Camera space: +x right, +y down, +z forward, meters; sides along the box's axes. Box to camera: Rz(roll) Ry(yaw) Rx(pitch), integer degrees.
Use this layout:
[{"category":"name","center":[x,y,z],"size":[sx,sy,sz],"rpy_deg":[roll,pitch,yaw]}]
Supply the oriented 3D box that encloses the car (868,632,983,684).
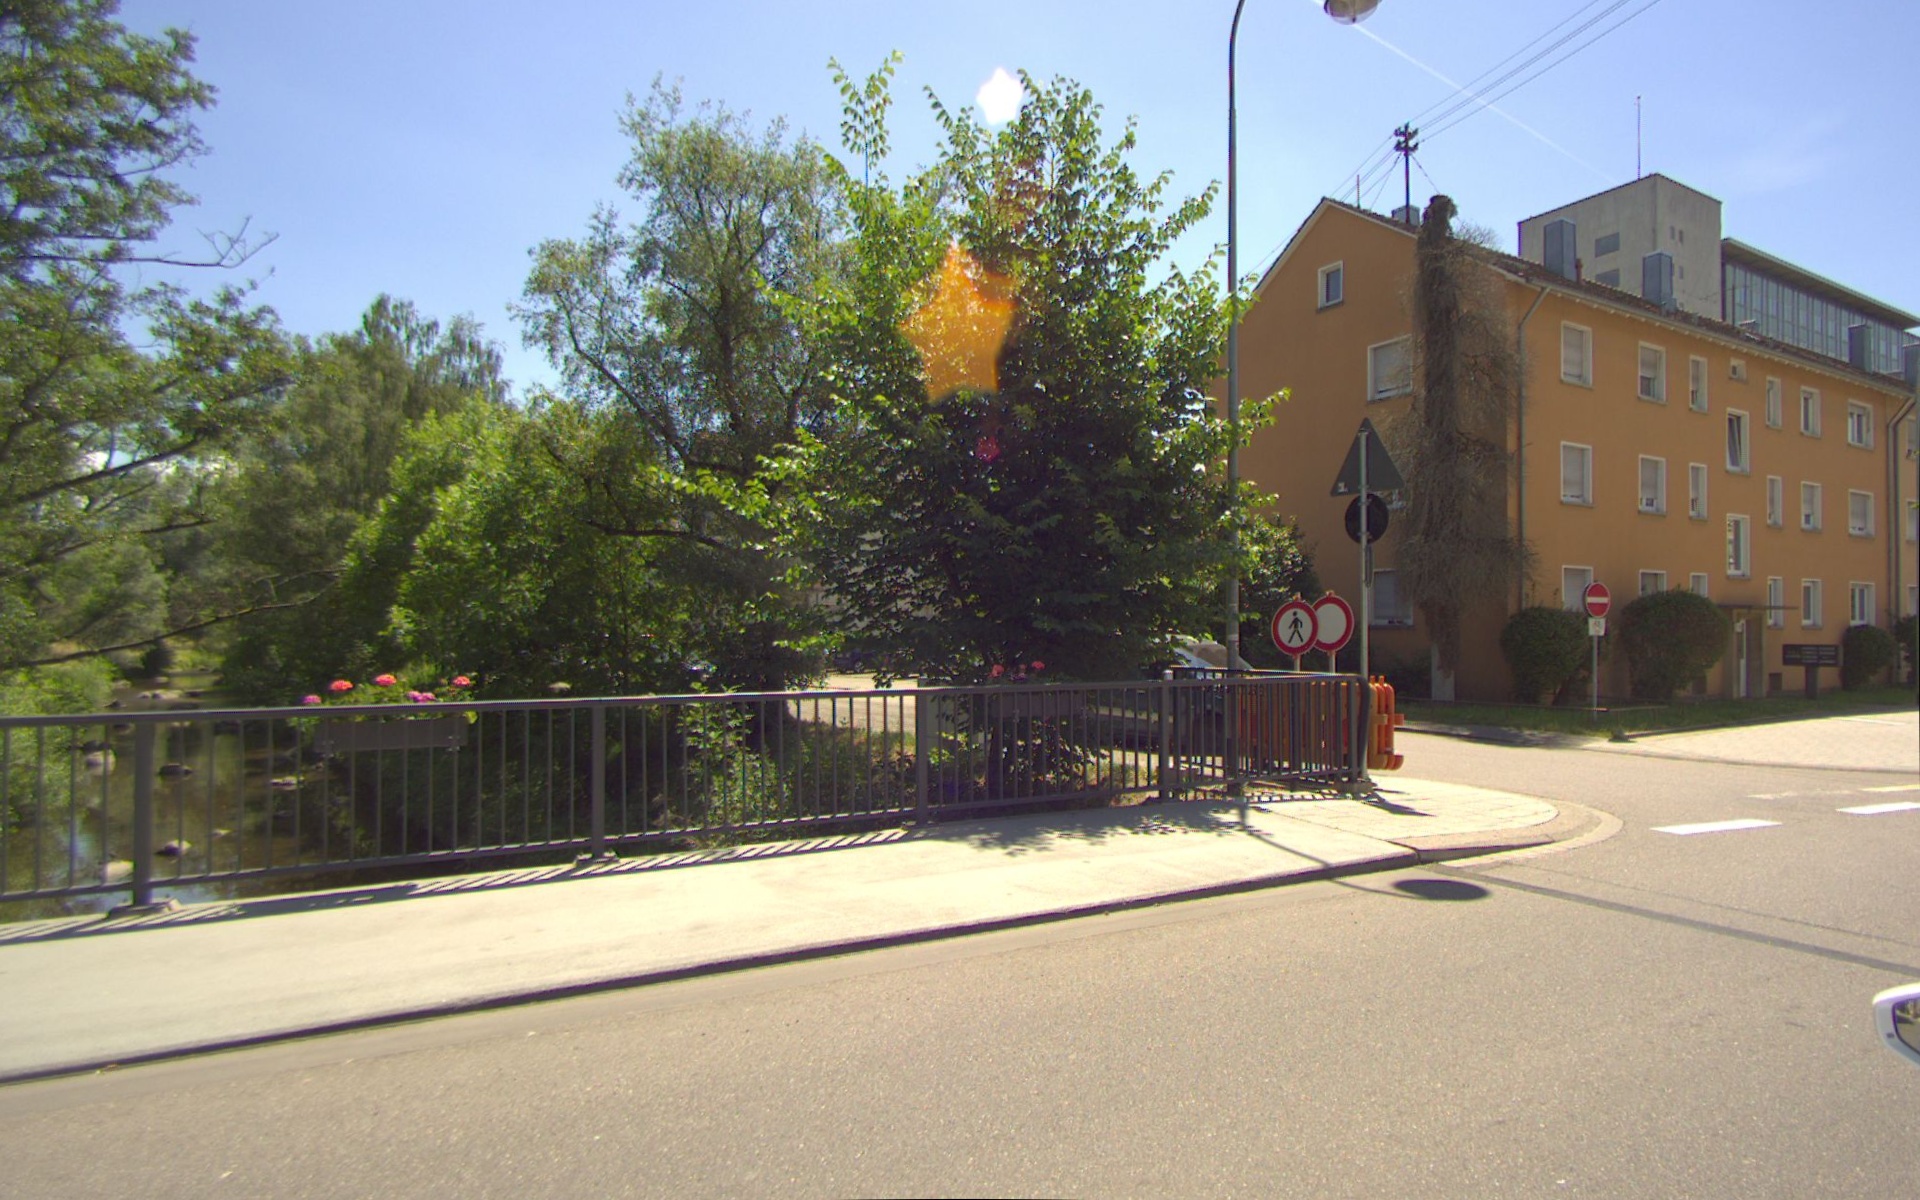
[{"category":"car","center":[-1.310,2.174,38.427],"size":[3.958,1.840,1.981],"rpy_deg":[1,-1,-34]}]

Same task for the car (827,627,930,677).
[{"category":"car","center":[-3.489,2.212,43.003],"size":[3.954,2.040,1.984],"rpy_deg":[2,-1,-31]}]

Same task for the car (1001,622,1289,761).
[{"category":"car","center":[2.811,1.406,16.162],"size":[1.804,1.898,4.389],"rpy_deg":[0,-3,-39]}]

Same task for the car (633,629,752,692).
[{"category":"car","center":[-8.471,1.864,31.570],"size":[1.983,1.825,4.388],"rpy_deg":[2,-3,-39]}]

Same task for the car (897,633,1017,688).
[{"category":"car","center":[-0.093,2.137,36.425],"size":[3.958,1.840,1.981],"rpy_deg":[1,-1,-34]}]
